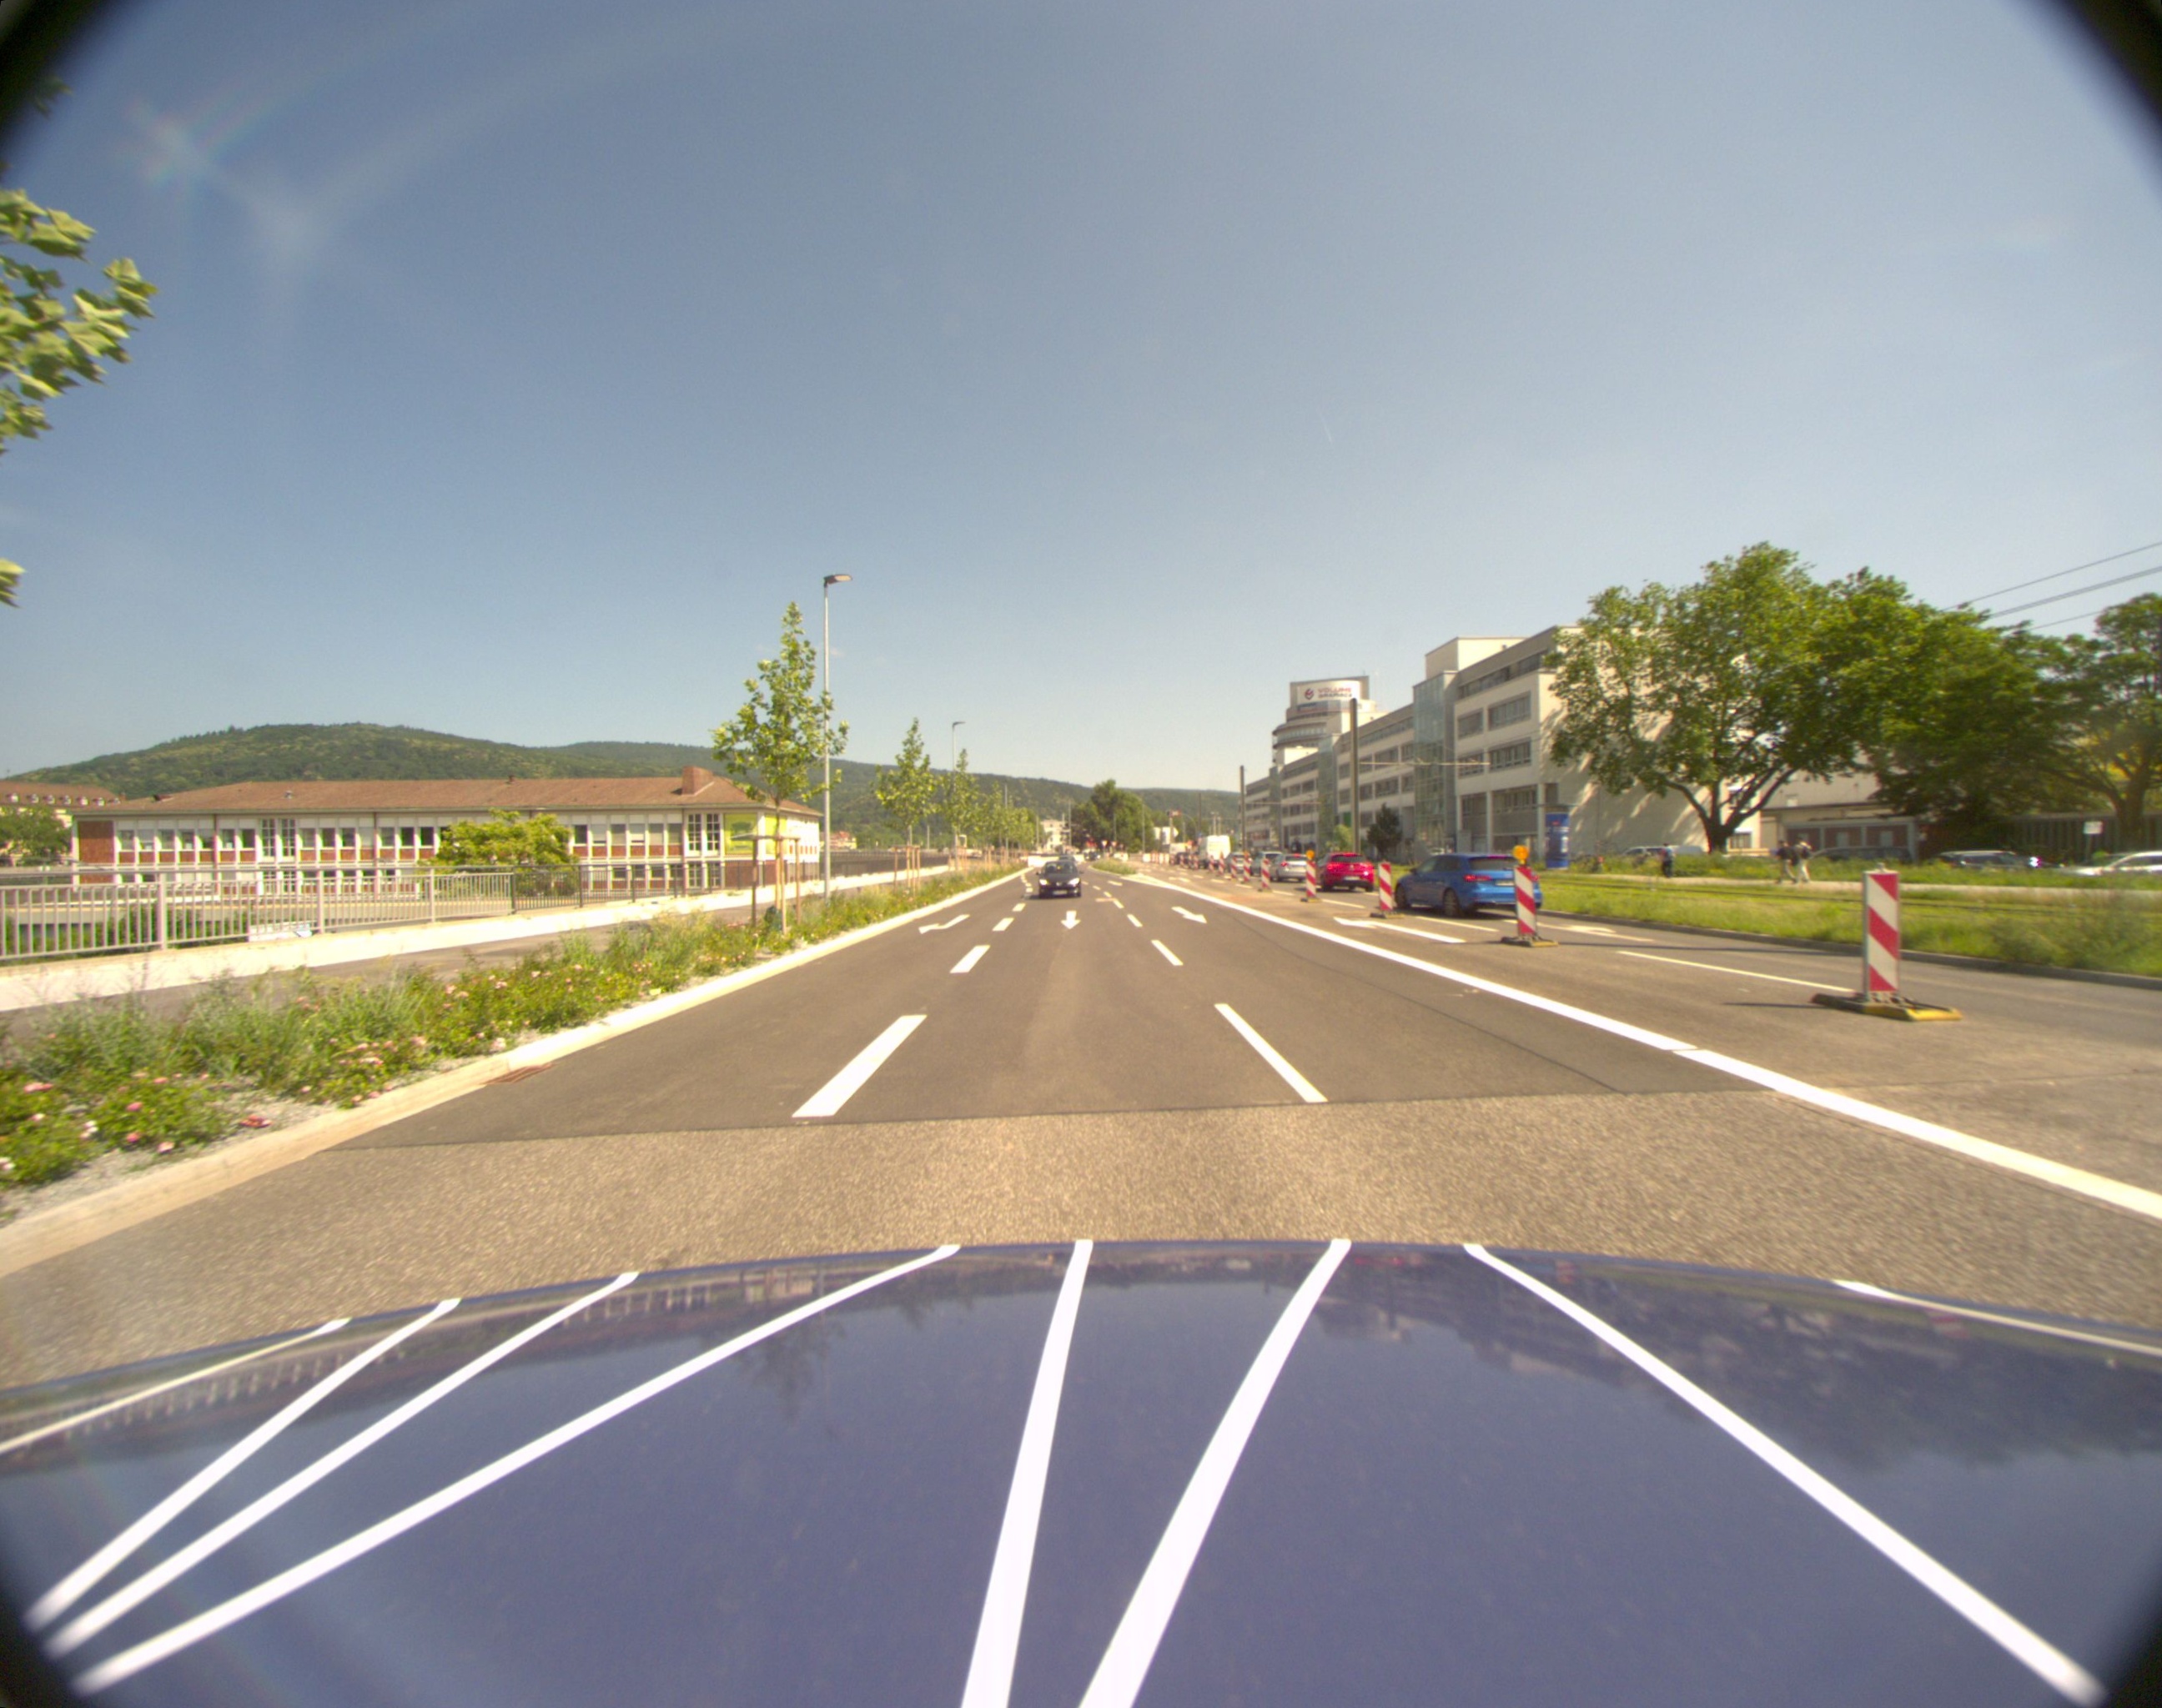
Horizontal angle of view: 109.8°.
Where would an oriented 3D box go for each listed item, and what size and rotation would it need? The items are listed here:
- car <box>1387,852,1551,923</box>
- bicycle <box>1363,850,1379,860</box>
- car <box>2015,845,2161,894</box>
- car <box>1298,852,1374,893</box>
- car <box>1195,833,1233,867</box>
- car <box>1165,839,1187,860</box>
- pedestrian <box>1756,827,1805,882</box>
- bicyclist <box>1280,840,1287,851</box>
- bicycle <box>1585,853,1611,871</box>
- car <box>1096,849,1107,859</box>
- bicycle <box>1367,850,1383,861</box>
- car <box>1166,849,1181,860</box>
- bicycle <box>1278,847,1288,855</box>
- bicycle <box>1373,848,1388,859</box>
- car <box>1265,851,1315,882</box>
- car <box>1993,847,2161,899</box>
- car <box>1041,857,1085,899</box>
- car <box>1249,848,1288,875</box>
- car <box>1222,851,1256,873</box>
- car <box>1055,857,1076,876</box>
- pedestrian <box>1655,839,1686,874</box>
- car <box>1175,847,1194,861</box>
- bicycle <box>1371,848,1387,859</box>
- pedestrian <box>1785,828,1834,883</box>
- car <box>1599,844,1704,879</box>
[{"bbox_3d":[8.704,0.673,17.505,1.632,1.419,4.290,0,0,0],"label":"car"},{"bbox_3d":[35.595,0.159,93.283,1.650,1.182,0.522,-3,1,5],"label":"bicycle"},{"bbox_3d":[37.022,0.508,27.512,1.773,1.581,3.635,-3,0,-5],"label":"car"},{"bbox_3d":[9.601,0.644,28.889,1.584,1.408,3.999,0,1,1],"label":"car"},{"bbox_3d":[11.323,-0.362,65.091,2.082,2.724,5.985,1,1,0],"label":"car"},{"bbox_3d":[12.007,-0.595,96.485,2.035,2.564,6.194,1,1,1],"label":"car"},{"bbox_3d":[26.335,0.000,28.625,0.985,2.002,0.910,-2,1,2],"label":"pedestrian"},{"bbox_3d":[31.019,-1.295,116.610,0.756,1.531,1.077,-2,2,1],"label":"bicyclist"},{"bbox_3d":[28.902,0.435,42.512,0.461,0.980,1.557,-1,1,3],"label":"bicycle"},{"bbox_3d":[3.360,0.047,122.699,1.618,1.433,3.767,-3,1,1],"label":"car"},{"bbox_3d":[35.549,0.182,91.831,1.650,1.182,0.438,-3,1,5],"label":"bicycle"},{"bbox_3d":[12.905,0.024,106.148,1.584,1.532,3.978,1,1,2],"label":"car"},{"bbox_3d":[31.050,-0.464,116.671,0.756,1.012,2.830,-2,1,1],"label":"bicycle"},{"bbox_3d":[35.309,-0.030,89.583,1.651,1.182,0.438,-3,1,0],"label":"bicycle"},{"bbox_3d":[10.438,0.588,38.203,1.583,1.408,4.297,0,1,4],"label":"car"},{"bbox_3d":[34.689,0.593,26.296,1.773,1.581,3.635,-3,0,-5],"label":"car"},{"bbox_3d":[-0.707,0.904,29.780,1.618,1.433,3.705,-1,1,-1],"label":"car"},{"bbox_3d":[11.404,0.431,46.410,1.583,1.521,3.621,1,1,3],"label":"car"},{"bbox_3d":[11.160,0.519,53.979,1.677,1.435,4.468,1,1,2],"label":"car"},{"bbox_3d":[-1.235,1.004,61.932,1.618,1.433,3.767,-1,1,0],"label":"car"},{"bbox_3d":[27.205,0.099,35.062,0.816,1.567,0.827,-1,1,5],"label":"pedestrian"},{"bbox_3d":[11.222,-0.050,82.698,1.549,1.449,4.192,1,1,0],"label":"car"},{"bbox_3d":[35.416,-0.072,90.341,1.650,1.182,0.438,-3,1,1],"label":"bicycle"},{"bbox_3d":[27.391,0.051,28.580,0.841,2.002,0.983,-2,1,2],"label":"pedestrian"},{"bbox_3d":[36.242,0.484,48.455,5.063,2.167,2.117,-1,1,27],"label":"car"}]
